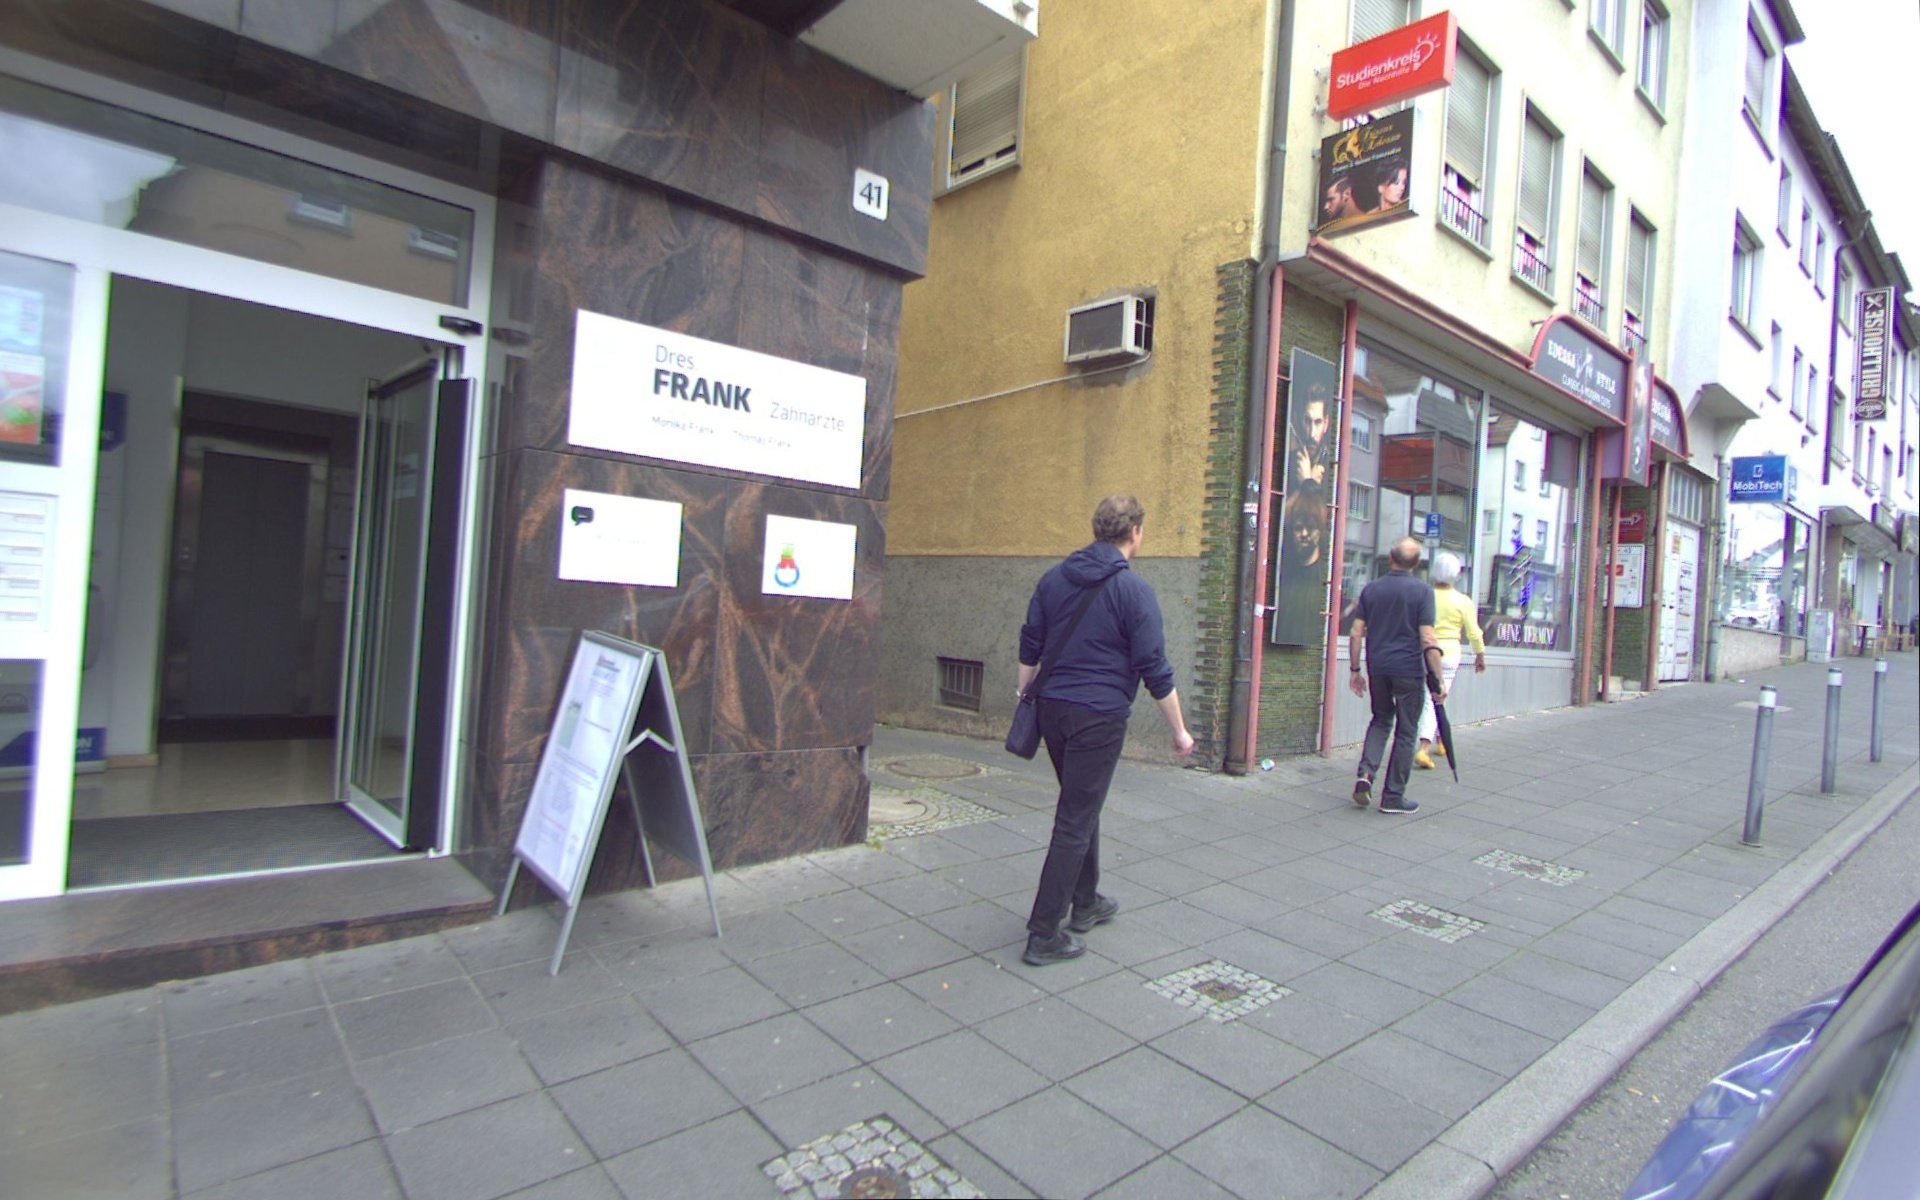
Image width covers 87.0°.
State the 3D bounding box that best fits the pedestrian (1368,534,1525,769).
[{"bbox_3d":[3.691,0.352,7.681,0.820,1.651,0.713,0,3,-41],"label":"pedestrian"}]

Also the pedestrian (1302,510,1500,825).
[{"bbox_3d":[2.721,0.370,6.259,0.771,1.773,0.713,1,5,-41],"label":"pedestrian"}]

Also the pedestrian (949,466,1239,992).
[{"bbox_3d":[0.512,0.417,3.919,0.773,1.774,0.713,0,3,-41],"label":"pedestrian"}]
